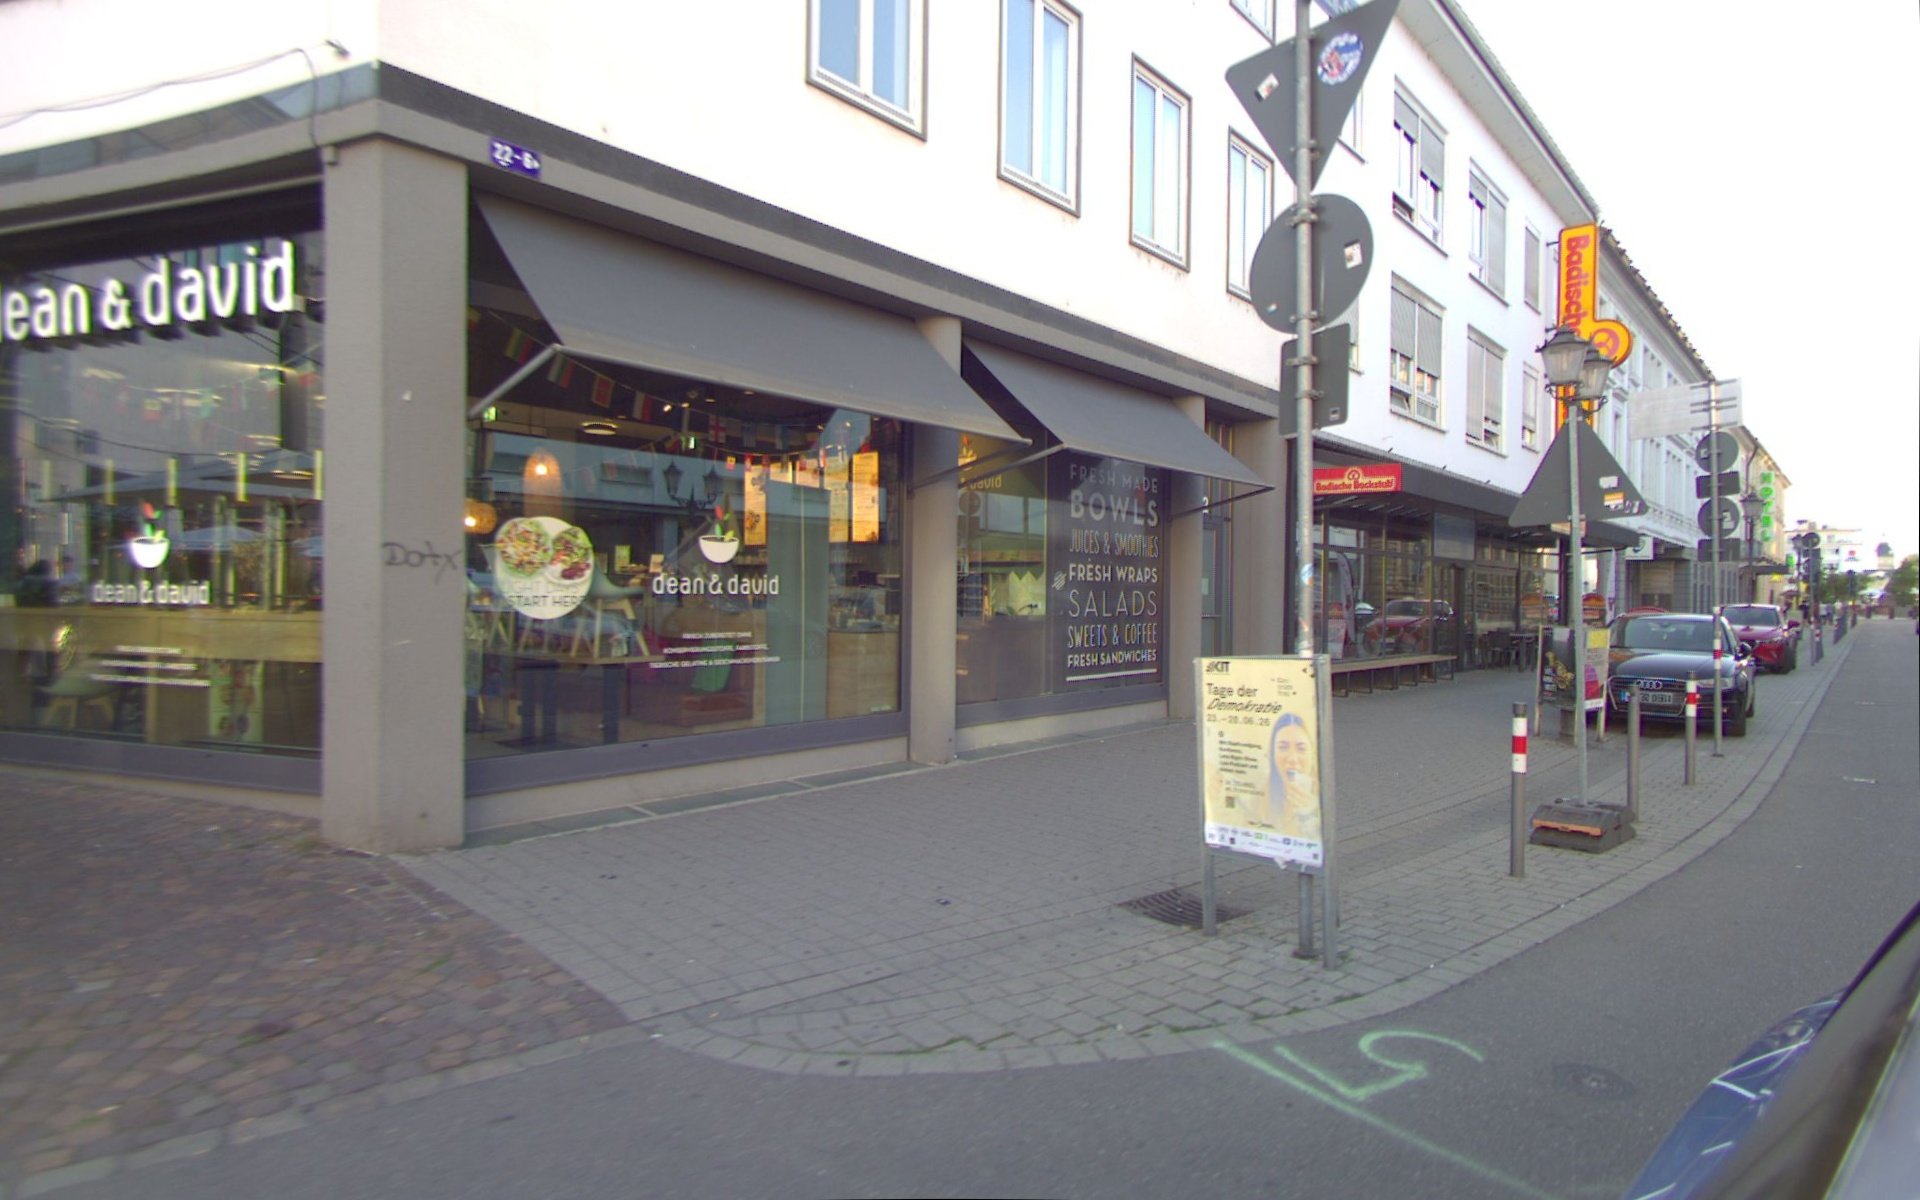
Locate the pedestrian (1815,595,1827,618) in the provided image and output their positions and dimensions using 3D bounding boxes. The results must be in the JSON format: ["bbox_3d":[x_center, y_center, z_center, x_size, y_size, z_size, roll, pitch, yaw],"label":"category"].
[{"bbox_3d":[61.150,0.473,71.873,0.630,1.621,0.605,0,0,45],"label":"pedestrian"}]

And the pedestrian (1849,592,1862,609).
[{"bbox_3d":[90.129,0.039,101.841,0.750,1.752,0.669,0,0,-3],"label":"pedestrian"}]

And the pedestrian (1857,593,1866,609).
[{"bbox_3d":[89.964,0.137,100.957,0.681,1.586,0.643,0,0,42],"label":"pedestrian"}]

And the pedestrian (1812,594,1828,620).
[{"bbox_3d":[57.024,0.457,67.126,0.859,1.752,0.714,0,0,-44],"label":"pedestrian"}]

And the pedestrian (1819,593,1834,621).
[{"bbox_3d":[56.519,0.462,66.024,0.898,1.812,0.621,0,0,-43],"label":"pedestrian"}]

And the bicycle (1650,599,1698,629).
[{"bbox_3d":[30.932,0.599,43.829,1.655,1.268,0.432,1,0,42],"label":"bicycle"}]

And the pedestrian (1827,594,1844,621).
[{"bbox_3d":[57.777,0.498,66.789,0.865,1.752,0.749,0,0,-41],"label":"pedestrian"}]

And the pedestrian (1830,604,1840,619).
[{"bbox_3d":[61.801,0.815,71.475,0.460,0.992,0.549,0,0,45],"label":"pedestrian"}]

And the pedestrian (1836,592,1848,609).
[{"bbox_3d":[89.335,0.056,102.506,0.704,1.752,0.609,0,0,-3],"label":"pedestrian"}]

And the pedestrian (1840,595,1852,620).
[{"bbox_3d":[62.389,0.504,71.234,0.607,1.752,0.549,0,0,45],"label":"pedestrian"}]

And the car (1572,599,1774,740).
[{"bbox_3d":[9.389,0.752,13.194,1.799,1.482,4.057,2,1,40],"label":"car"}]

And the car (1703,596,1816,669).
[{"bbox_3d":[18.672,0.683,23.579,1.759,1.542,3.619,1,1,44],"label":"car"}]
